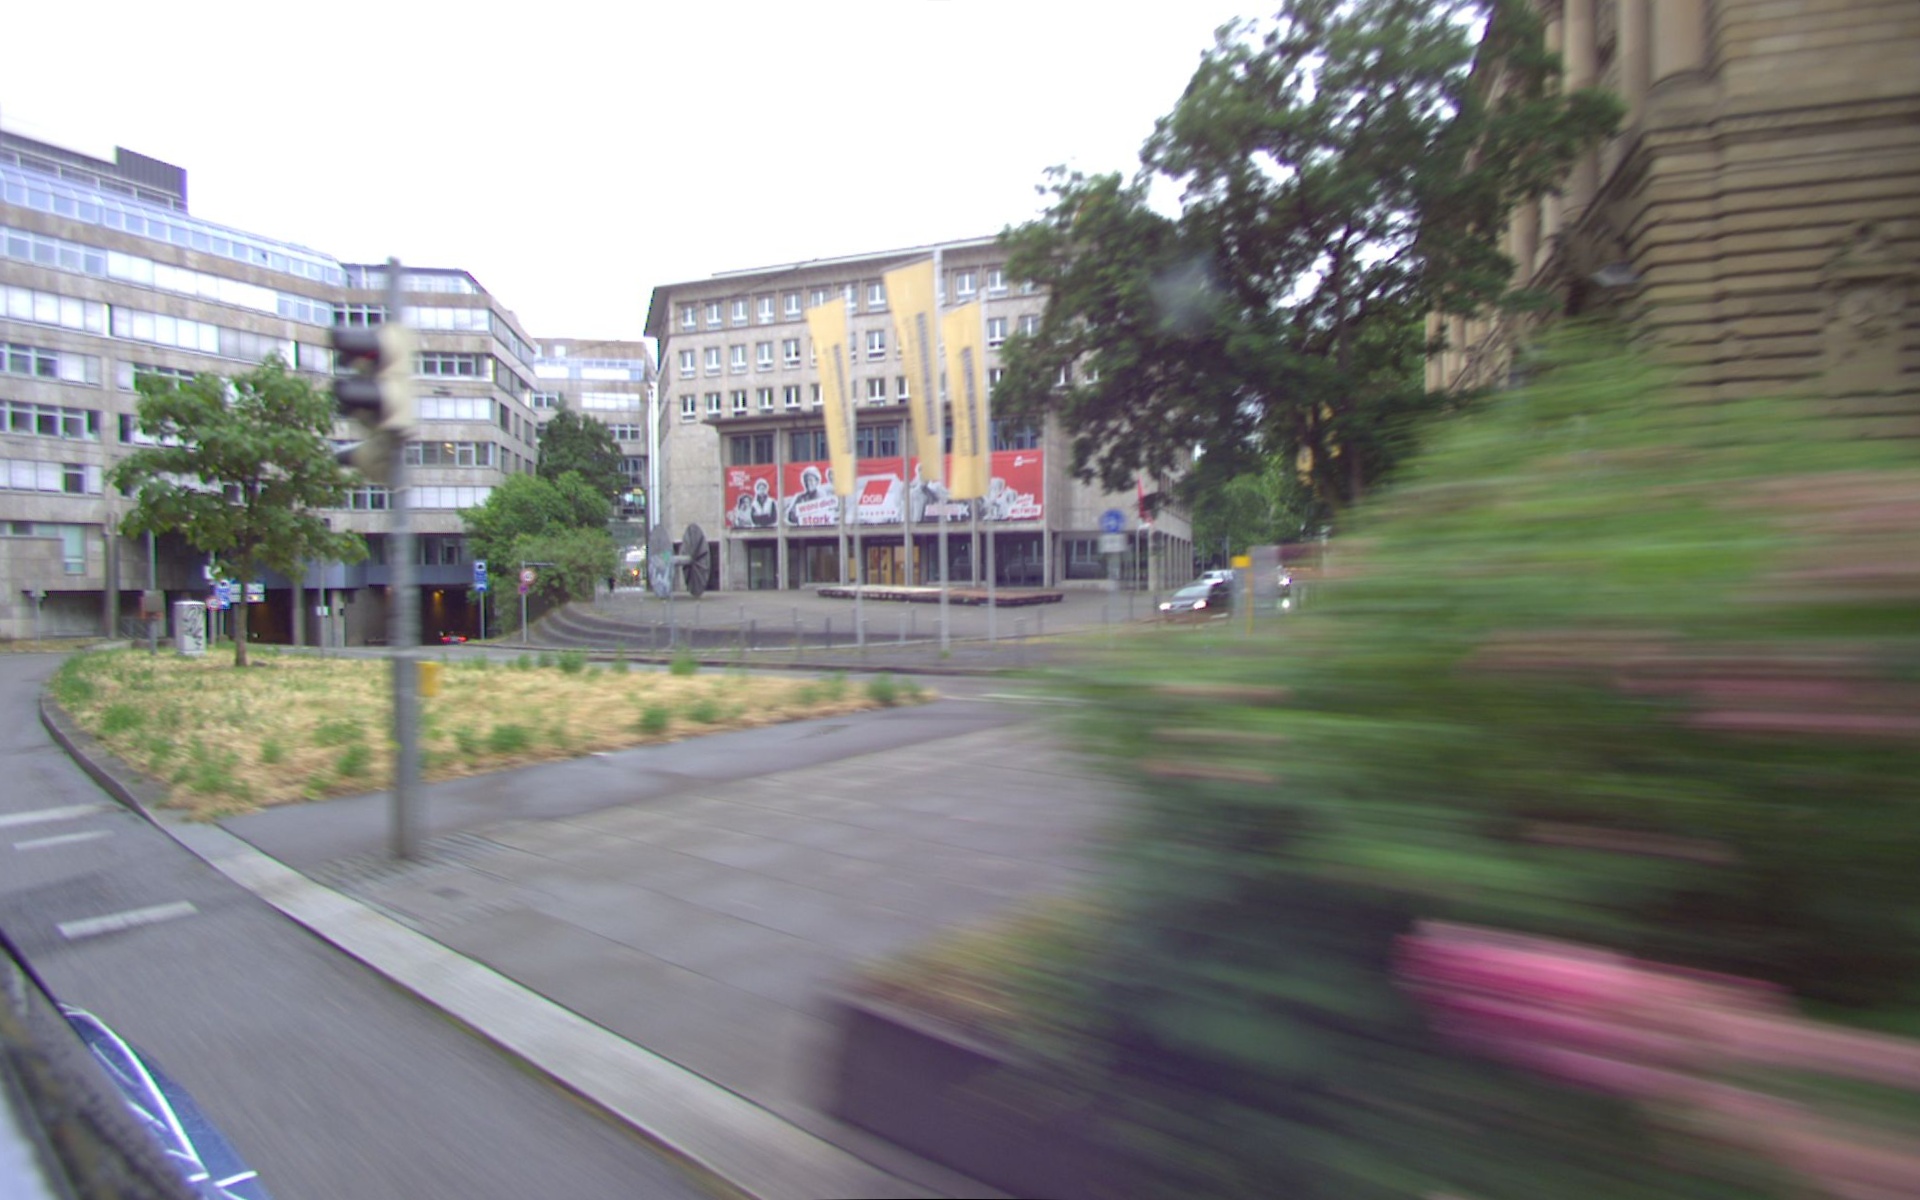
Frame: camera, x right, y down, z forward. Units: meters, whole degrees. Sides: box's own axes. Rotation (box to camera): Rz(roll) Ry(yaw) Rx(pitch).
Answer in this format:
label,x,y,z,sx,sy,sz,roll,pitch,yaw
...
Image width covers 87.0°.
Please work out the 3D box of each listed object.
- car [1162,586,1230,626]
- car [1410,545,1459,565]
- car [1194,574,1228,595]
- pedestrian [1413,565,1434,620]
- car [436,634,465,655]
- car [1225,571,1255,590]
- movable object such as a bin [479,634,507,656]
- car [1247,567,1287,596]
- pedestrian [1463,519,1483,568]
label,x,y,z,sx,sy,sz,roll,pitch,yaw
car,9.003,0.215,38.425,1.612,1.414,3.588,-2,0,28
car,54.660,-5.171,116.631,2.280,1.971,6.299,-2,0,-4
car,16.632,-1.034,67.066,1.609,1.257,3.594,-2,0,24
pedestrian,14.008,-0.225,30.597,0.495,1.636,0.384,-2,0,20
car,-40.087,3.469,79.709,1.965,1.504,4.858,0,0,-26
car,20.035,-1.369,72.290,1.609,1.257,3.595,-2,0,23
movable object such as a bin,-32.018,3.081,69.453,1.329,1.461,1.160,-1,-1,19
car,17.836,-1.065,58.671,1.985,1.568,4.185,-2,0,20
pedestrian,14.744,-1.615,29.094,0.438,1.355,0.384,-2,0,20
